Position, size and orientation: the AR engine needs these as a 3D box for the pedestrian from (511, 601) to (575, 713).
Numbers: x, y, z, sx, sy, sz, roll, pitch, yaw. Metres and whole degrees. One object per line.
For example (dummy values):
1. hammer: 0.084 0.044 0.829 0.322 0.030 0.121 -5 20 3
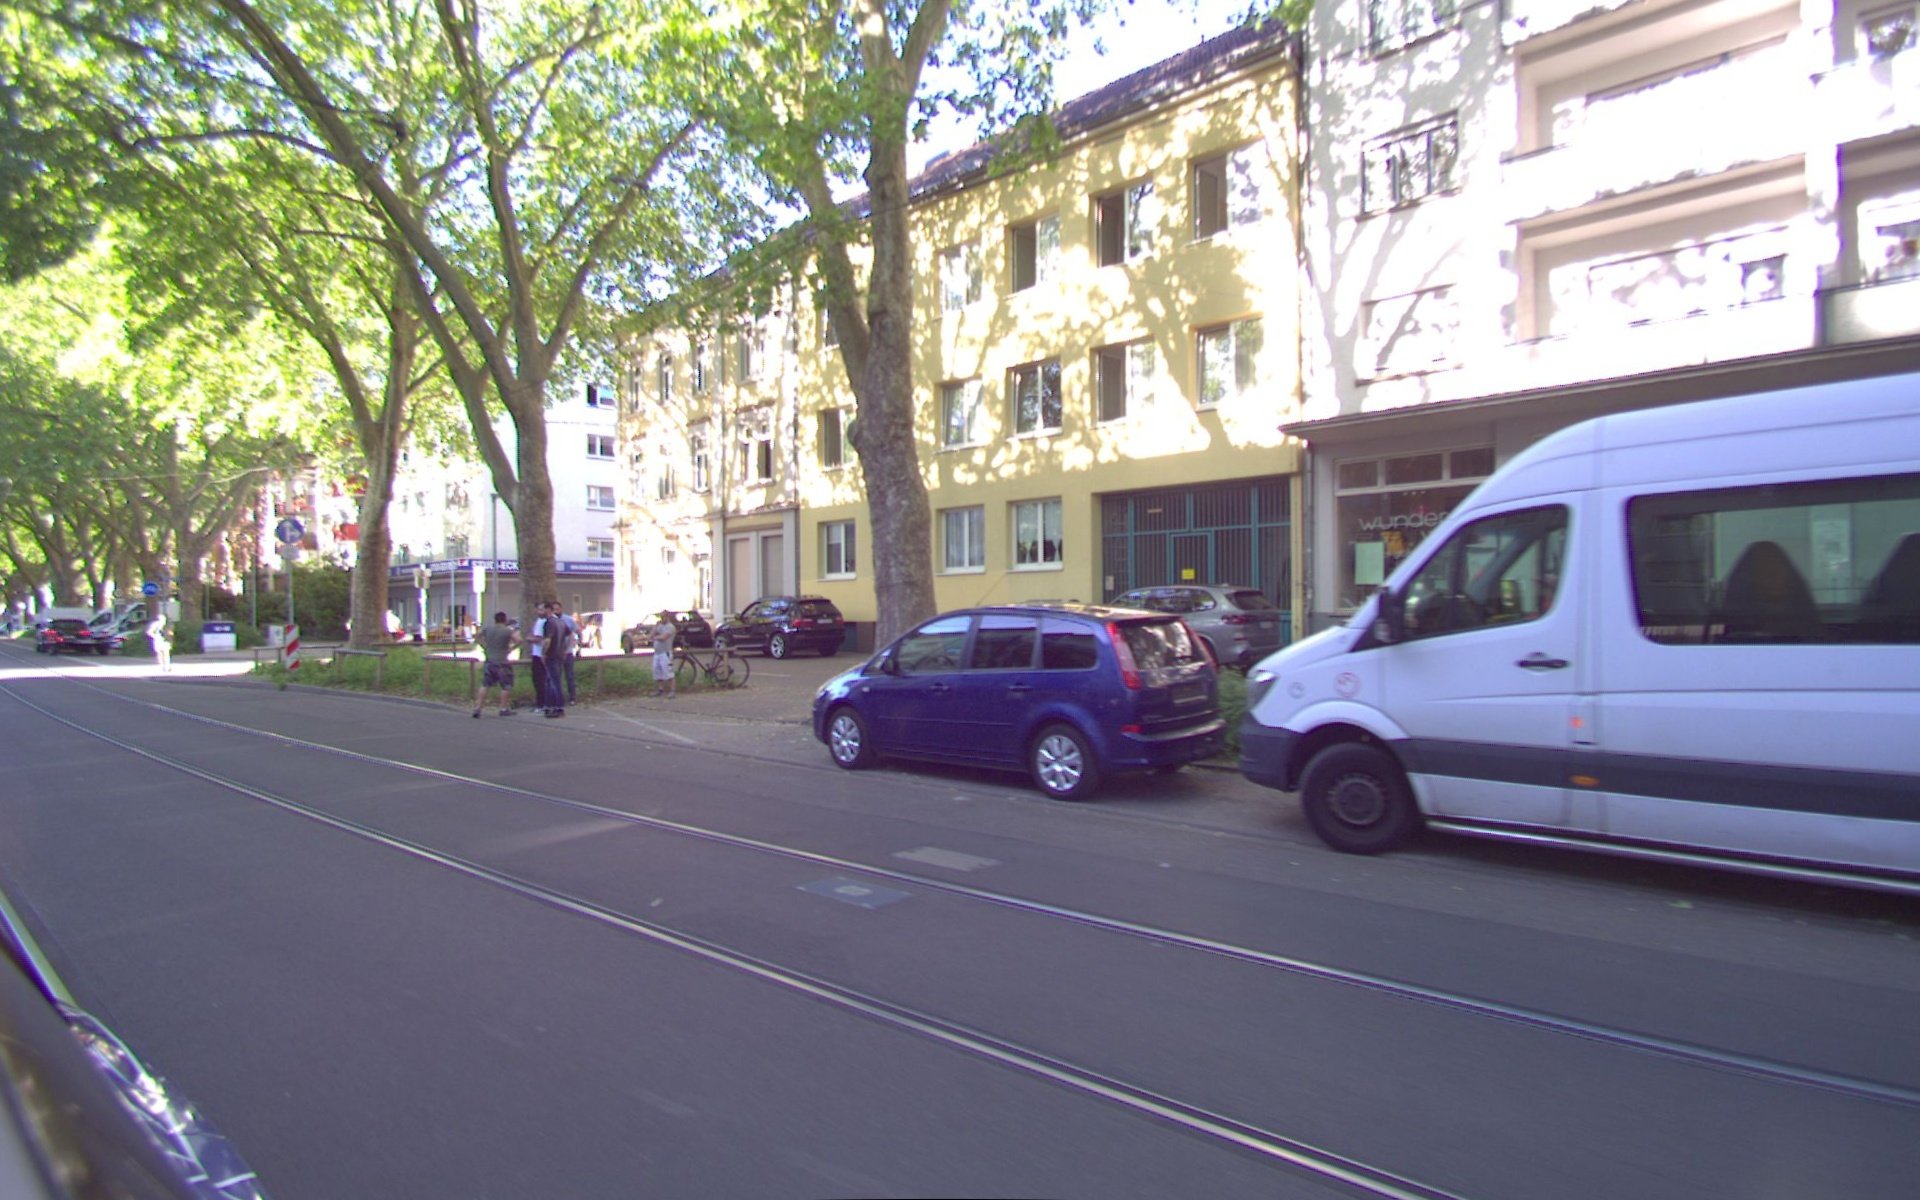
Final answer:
1. pedestrian: -6.718 0.903 16.341 0.759 1.748 0.715 -1 0 -5

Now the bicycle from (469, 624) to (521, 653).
1. bicycle: -19.104 1.576 41.595 0.655 1.070 1.845 -1 0 35

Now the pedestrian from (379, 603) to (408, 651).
1. pedestrian: -21.880 1.030 39.083 0.668 1.793 0.715 0 1 34

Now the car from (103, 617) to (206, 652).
1. car: -42.320 1.785 53.216 1.999 1.657 3.945 -1 0 42

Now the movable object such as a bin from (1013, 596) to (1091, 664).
1. movable object such as a bin: 2.167 0.689 23.802 1.343 1.513 1.217 -1 0 42

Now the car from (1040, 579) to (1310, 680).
1. car: 4.103 0.515 19.929 4.899 1.746 1.971 -1 0 44

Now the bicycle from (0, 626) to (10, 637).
1. bicycle: -80.395 2.634 85.217 1.557 0.913 0.526 -1 0 44

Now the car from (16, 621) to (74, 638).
1. car: -87.283 2.806 96.572 1.999 1.478 3.945 -1 0 42

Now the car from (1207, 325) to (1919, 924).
1. car: 4.546 0.094 5.486 2.083 2.597 6.028 -1 0 -44

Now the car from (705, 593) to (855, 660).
1. car: -5.273 0.716 29.237 1.971 1.749 4.699 -1 0 -45

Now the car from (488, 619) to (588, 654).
1. car: -20.599 1.742 49.521 1.835 1.489 4.097 -1 0 43

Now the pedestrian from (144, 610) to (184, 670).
1. pedestrian: -24.221 1.206 30.787 0.799 1.805 0.693 -1 0 31

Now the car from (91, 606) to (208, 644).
1. car: -47.724 1.419 59.699 1.998 2.010 5.070 -1 0 38

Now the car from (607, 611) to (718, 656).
1. car: -10.119 1.095 34.313 3.998 1.398 1.761 -1 0 41

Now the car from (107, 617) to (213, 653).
1. car: -40.403 1.713 51.169 1.908 1.622 3.945 -1 0 41

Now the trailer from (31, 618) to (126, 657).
1. trailer: -40.208 1.662 46.112 6.582 1.644 2.420 -1 -3 42

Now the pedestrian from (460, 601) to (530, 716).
1. pedestrian: -7.287 0.897 15.889 0.704 1.748 0.771 -1 0 0

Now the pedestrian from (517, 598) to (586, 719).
1. pedestrian: -6.321 0.881 15.642 0.771 1.790 0.704 -1 0 43

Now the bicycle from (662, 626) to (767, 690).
1. bicycle: -4.539 1.050 18.711 1.820 1.088 0.571 -1 0 -19

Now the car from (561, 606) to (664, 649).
1. car: -15.640 1.226 45.710 1.800 1.650 3.958 -6 -3 42

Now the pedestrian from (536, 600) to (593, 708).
1. pedestrian: -6.640 0.876 16.984 0.758 1.748 0.719 -1 0 -32

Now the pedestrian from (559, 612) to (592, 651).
1. pedestrian: -15.086 1.231 39.714 1.069 1.490 0.764 -1 0 42

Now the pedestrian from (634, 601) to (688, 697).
1. pedestrian: -5.222 0.837 17.732 0.759 1.622 0.715 -1 0 -5

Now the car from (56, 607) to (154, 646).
1. car: -54.763 1.645 64.900 2.000 2.323 4.598 -1 0 43

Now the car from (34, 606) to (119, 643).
1. car: -65.414 1.793 74.983 2.000 2.552 4.598 -1 0 43

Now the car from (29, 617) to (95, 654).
1. car: -44.173 1.730 49.777 4.181 1.696 1.902 -1 -3 42

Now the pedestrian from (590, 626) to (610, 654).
1. pedestrian: -14.305 1.588 40.260 0.540 1.048 0.541 -1 0 10

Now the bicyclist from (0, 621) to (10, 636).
1. bicyclist: -80.403 2.370 85.217 0.666 1.222 0.526 -1 0 44

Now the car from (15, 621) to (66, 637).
1. car: -99.772 3.137 109.824 1.999 1.478 3.945 -1 0 42

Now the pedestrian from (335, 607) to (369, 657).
1. pedestrian: -22.212 1.162 36.994 0.727 1.770 0.738 -1 0 8

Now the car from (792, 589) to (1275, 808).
1. car: 0.511 0.732 9.529 4.284 1.573 1.896 -1 0 43
